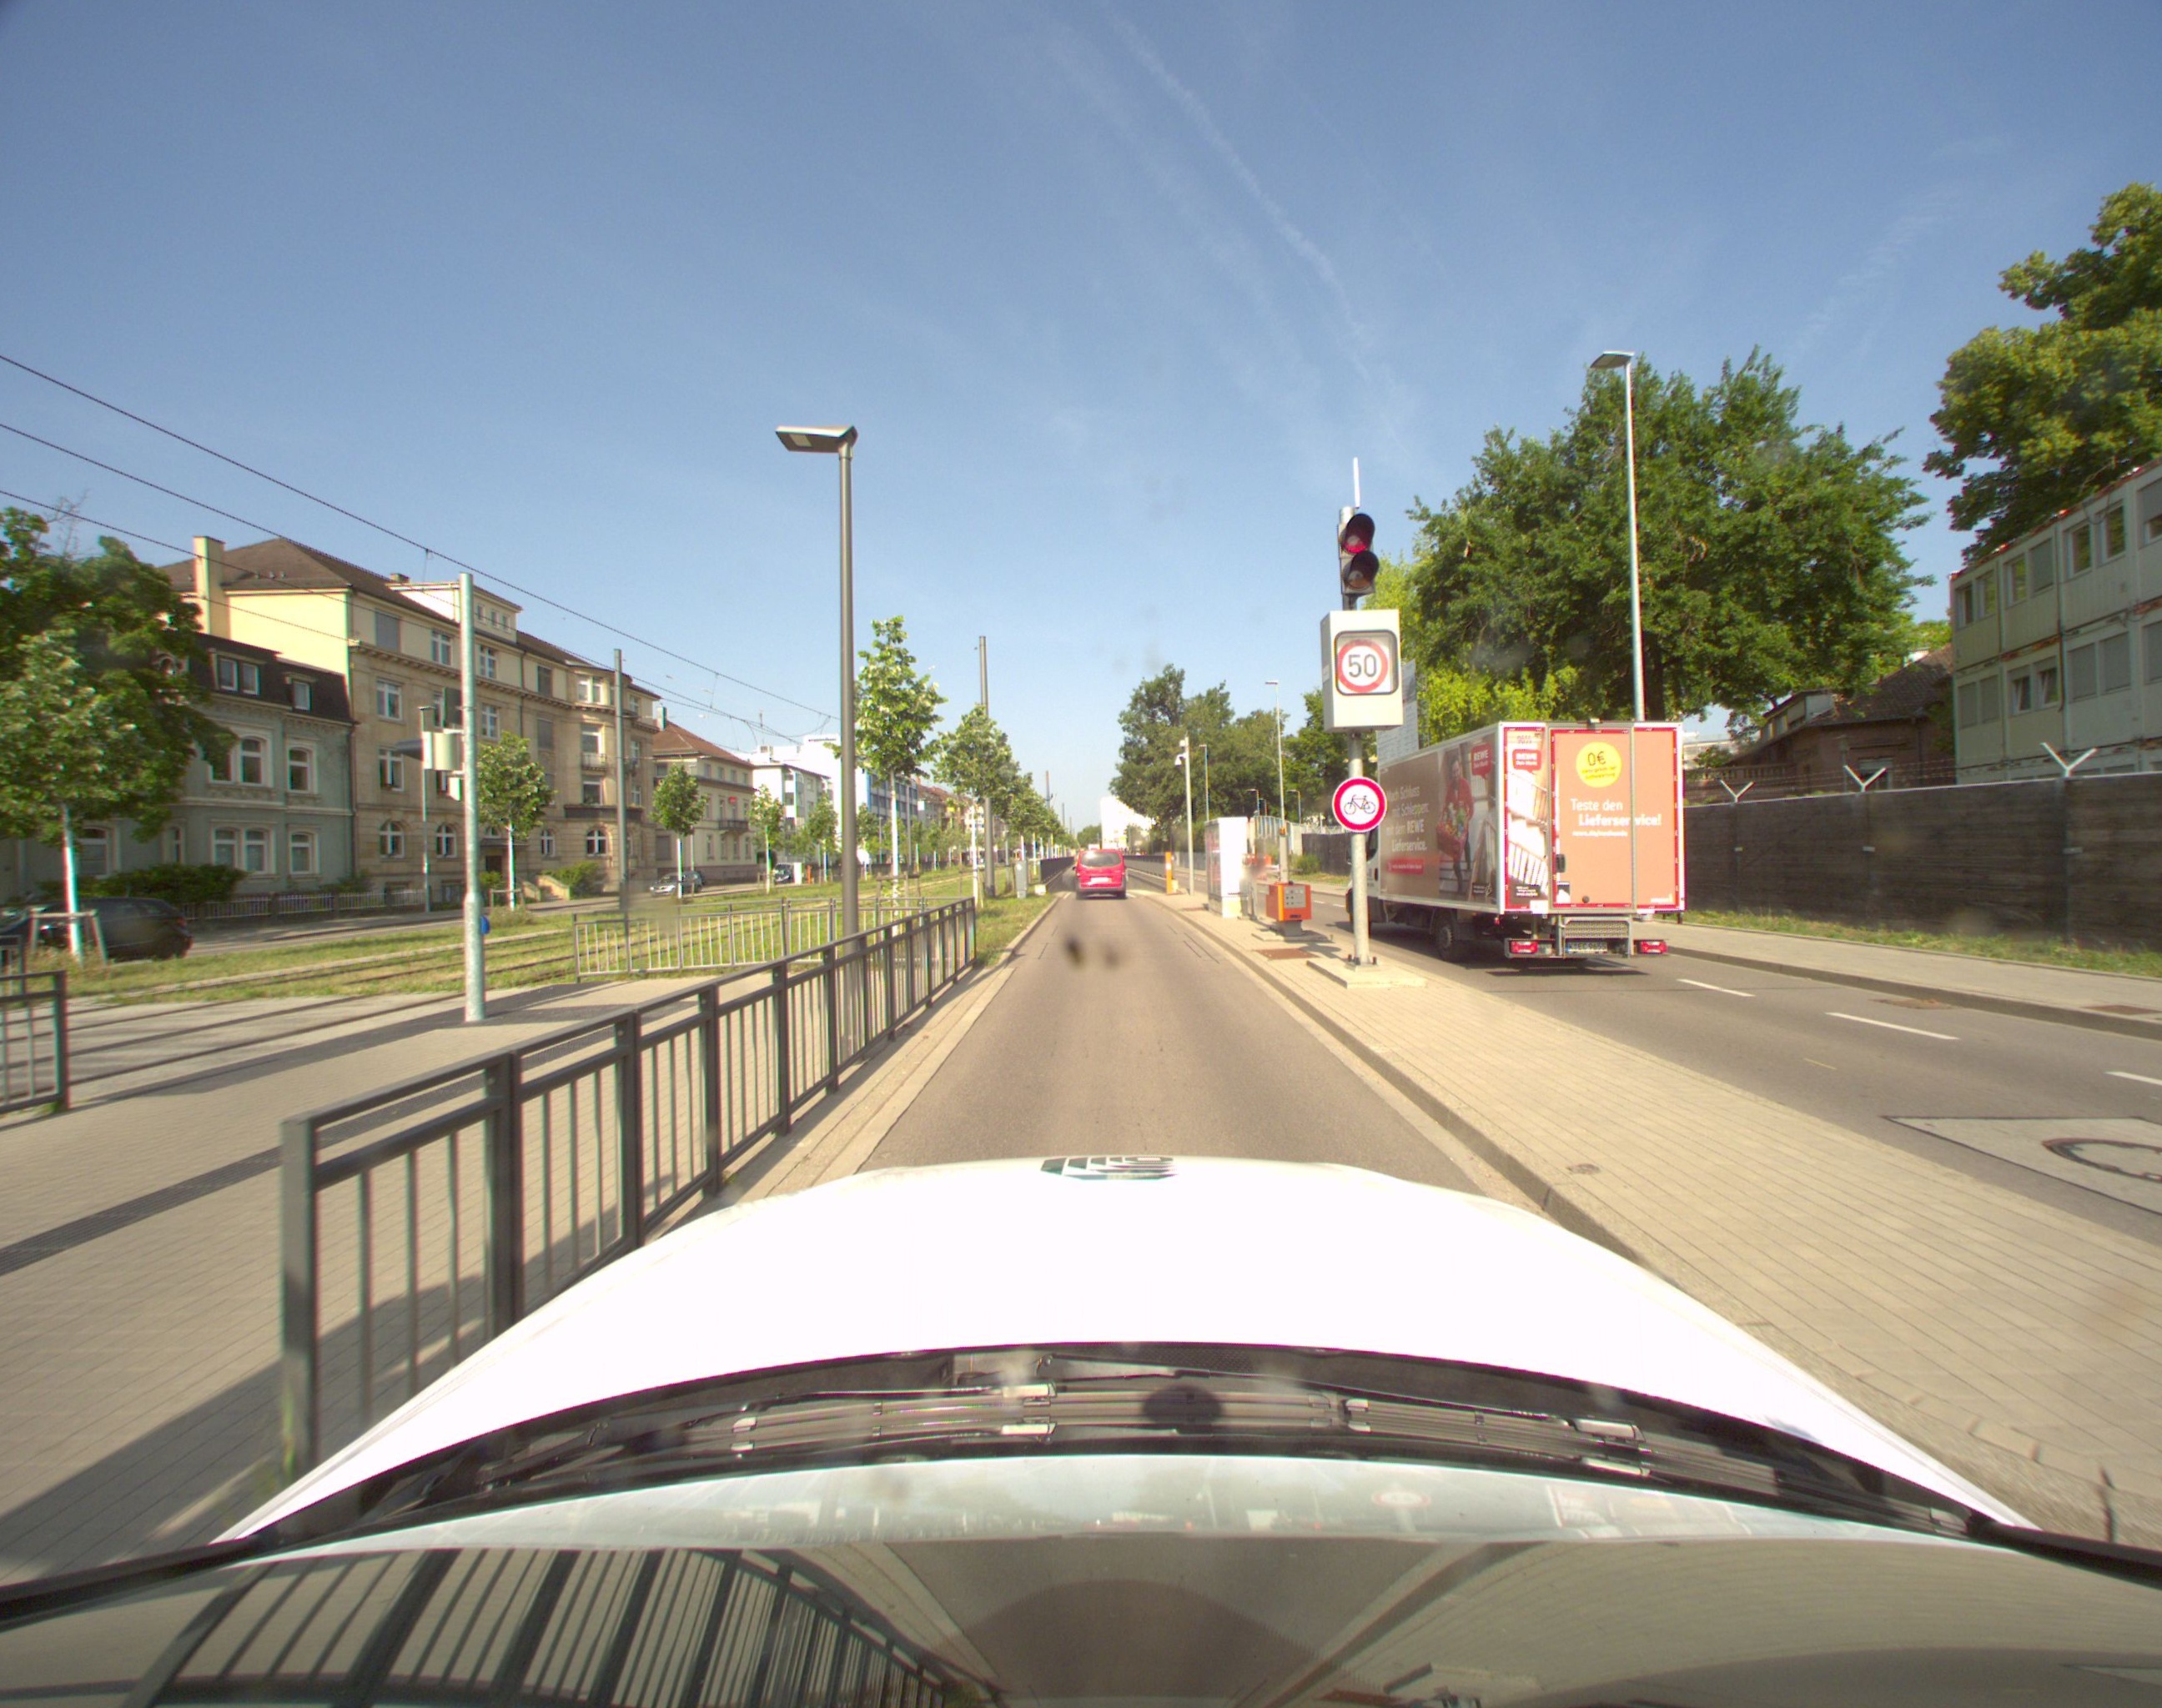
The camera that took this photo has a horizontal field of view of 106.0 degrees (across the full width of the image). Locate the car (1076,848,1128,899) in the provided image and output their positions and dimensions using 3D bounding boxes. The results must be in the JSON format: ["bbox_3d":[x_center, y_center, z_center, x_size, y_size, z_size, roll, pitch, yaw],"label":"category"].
[{"bbox_3d":[0.843,0.709,31.430,1.894,1.859,4.002,0,0,2],"label":"car"}]

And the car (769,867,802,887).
[{"bbox_3d":[-26.252,2.028,72.516,1.514,1.464,3.823,-2,1,-1],"label":"car"}]

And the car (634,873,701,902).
[{"bbox_3d":[-26.593,2.115,52.582,1.987,1.577,4.527,-2,0,0],"label":"car"}]

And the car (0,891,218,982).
[{"bbox_3d":[-21.056,1.648,16.709,1.988,1.513,4.396,-2,0,-1],"label":"car"}]

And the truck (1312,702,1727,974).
[{"bbox_3d":[6.046,-0.141,13.084,2.494,3.061,7.819,0,-1,0],"label":"truck"}]

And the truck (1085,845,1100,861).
[{"bbox_3d":[2.847,-0.279,200.922,3.380,3.726,10.450,-2,0,0],"label":"truck"}]

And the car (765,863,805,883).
[{"bbox_3d":[-30.812,2.034,84.918,2.243,2.014,5.260,0,-2,-1],"label":"car"}]
